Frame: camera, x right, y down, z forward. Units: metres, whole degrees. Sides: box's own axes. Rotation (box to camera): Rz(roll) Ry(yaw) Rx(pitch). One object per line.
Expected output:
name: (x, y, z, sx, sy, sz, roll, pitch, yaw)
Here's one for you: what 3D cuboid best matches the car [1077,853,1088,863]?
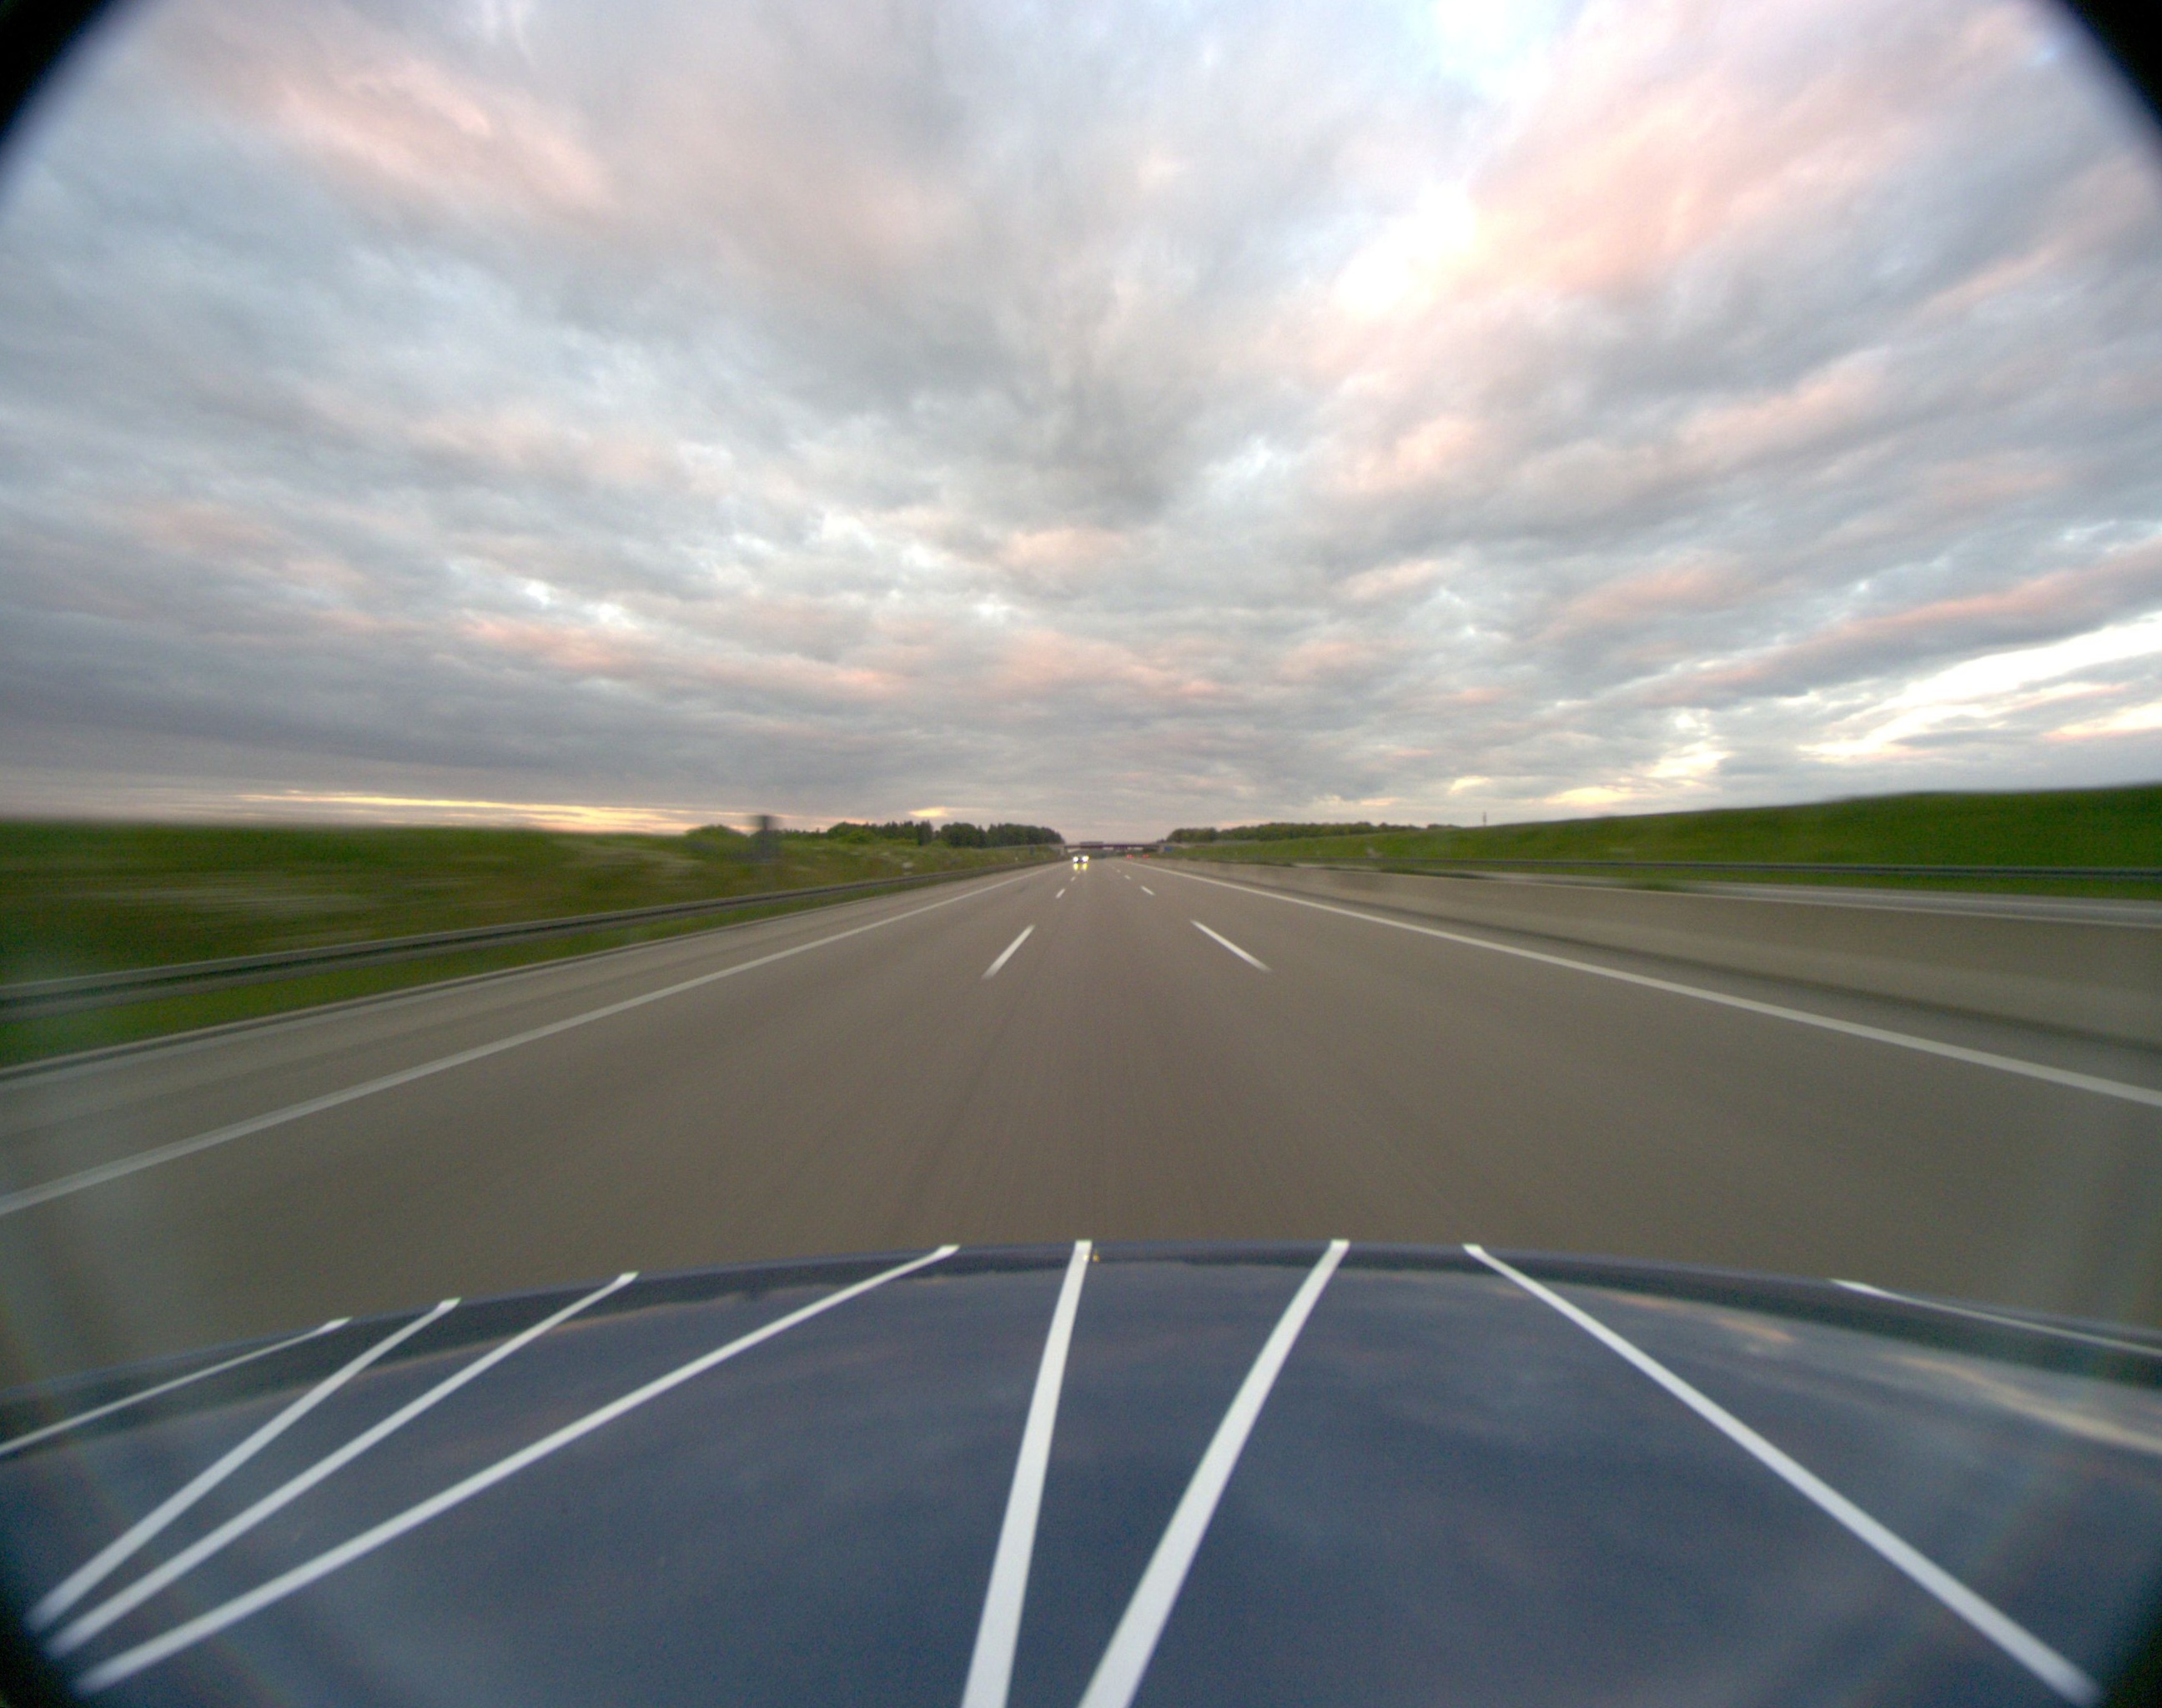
car: (0.214, 0.697, 130.927, 1.801, 1.674, 4.385, -1, 1, 1)
